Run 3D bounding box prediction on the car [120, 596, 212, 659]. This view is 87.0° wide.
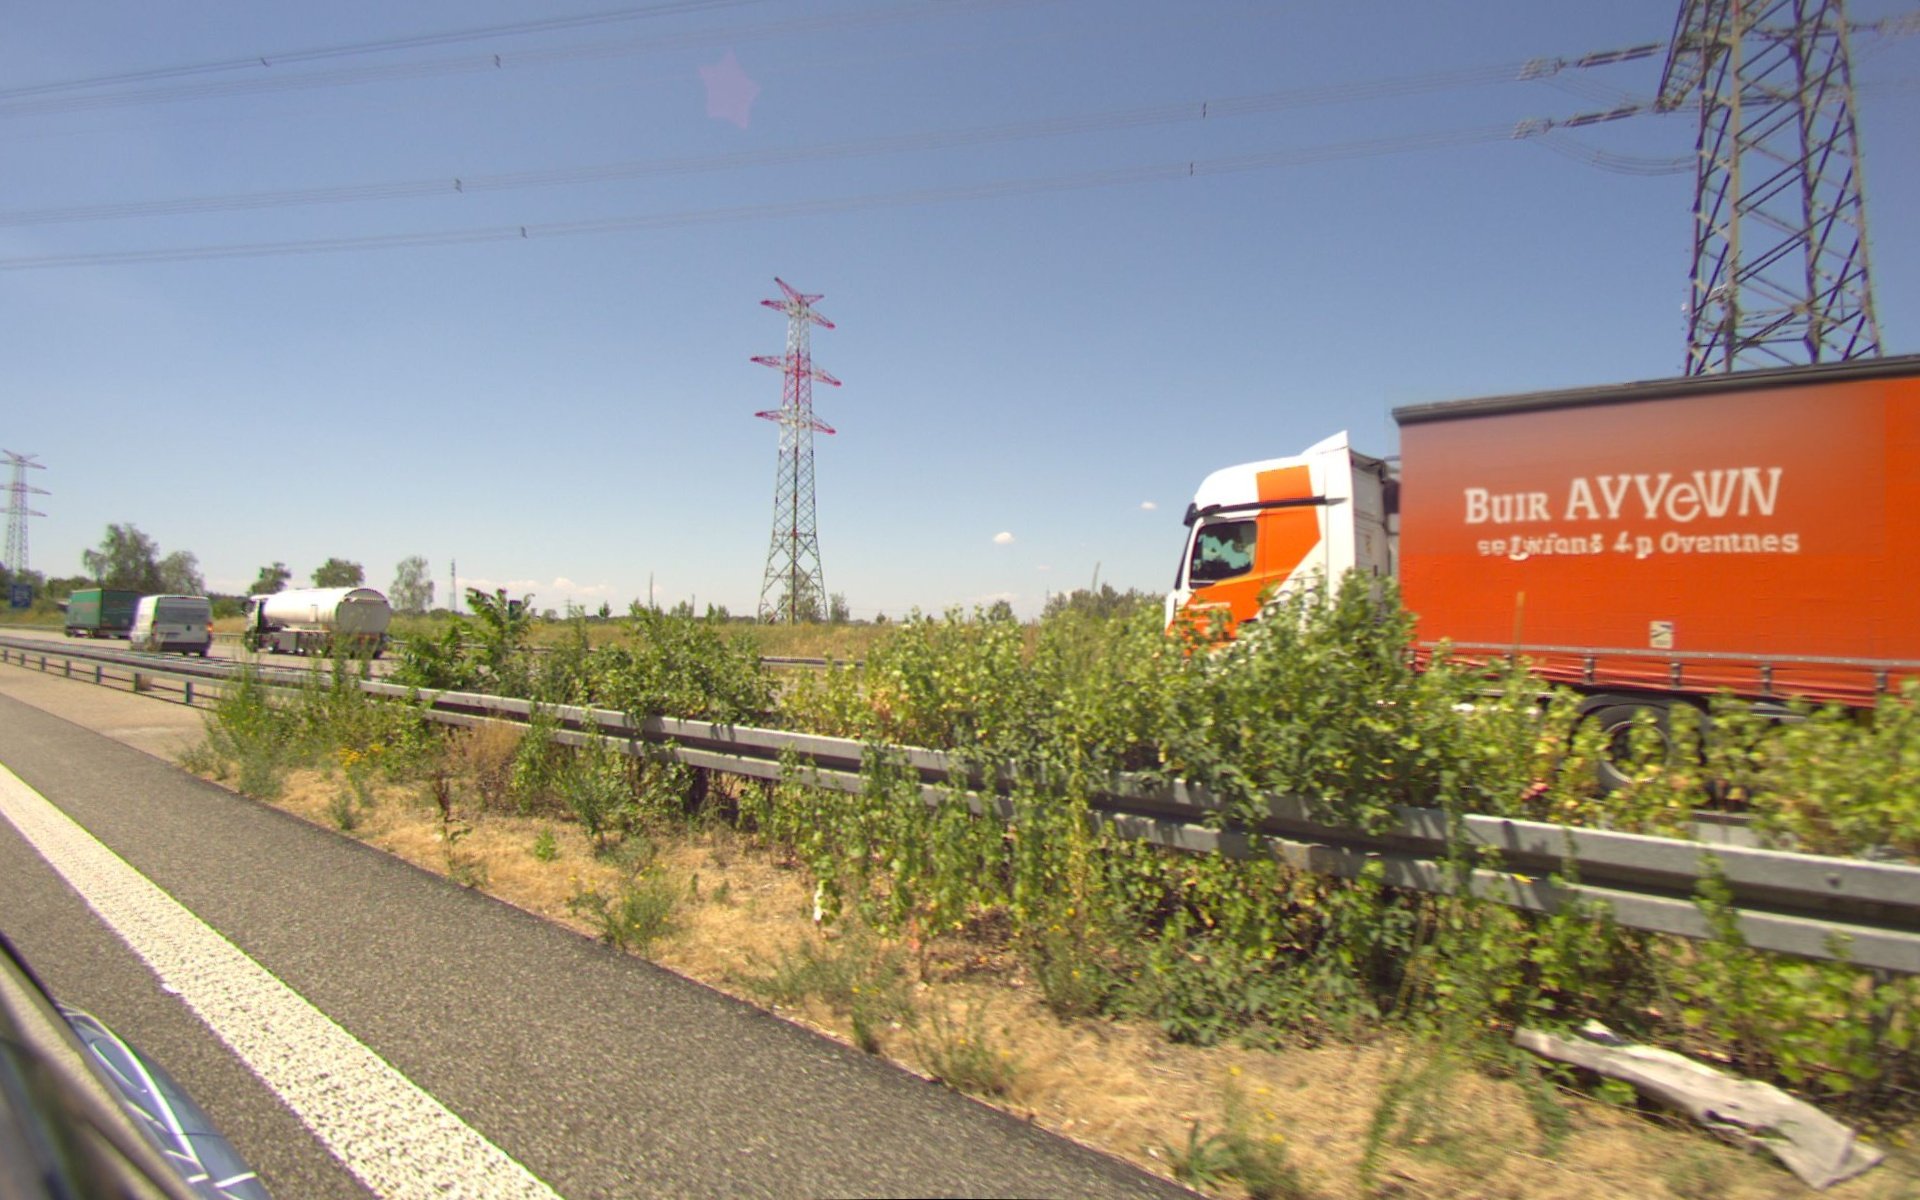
[{"bbox_3d":[-33.206,1.165,42.232,6.028,2.456,1.972,-1,-3,42],"label":"car"}]

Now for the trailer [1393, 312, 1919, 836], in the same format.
[{"bbox_3d":[10.944,-0.222,7.254,14.319,4.270,2.564,-1,-3,40],"label":"trailer"}]

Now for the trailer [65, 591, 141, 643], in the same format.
[{"bbox_3d":[-72.730,1.475,85.706,13.907,4.116,2.641,-1,-3,41],"label":"trailer"}]

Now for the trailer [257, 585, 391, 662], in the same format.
[{"bbox_3d":[-31.238,1.152,49.420,11.560,3.398,2.390,-1,-3,42],"label":"trailer"}]

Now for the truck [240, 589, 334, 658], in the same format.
[{"bbox_3d":[-35.277,1.225,52.975,6.208,3.404,2.457,-1,-3,41],"label":"truck"}]

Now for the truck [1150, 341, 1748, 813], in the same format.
[{"bbox_3d":[5.497,-0.137,12.009,5.907,4.243,2.572,-1,-3,42],"label":"truck"}]

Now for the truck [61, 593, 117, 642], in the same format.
[{"bbox_3d":[-76.973,1.574,89.415,6.576,4.166,2.671,-1,-3,41],"label":"truck"}]
